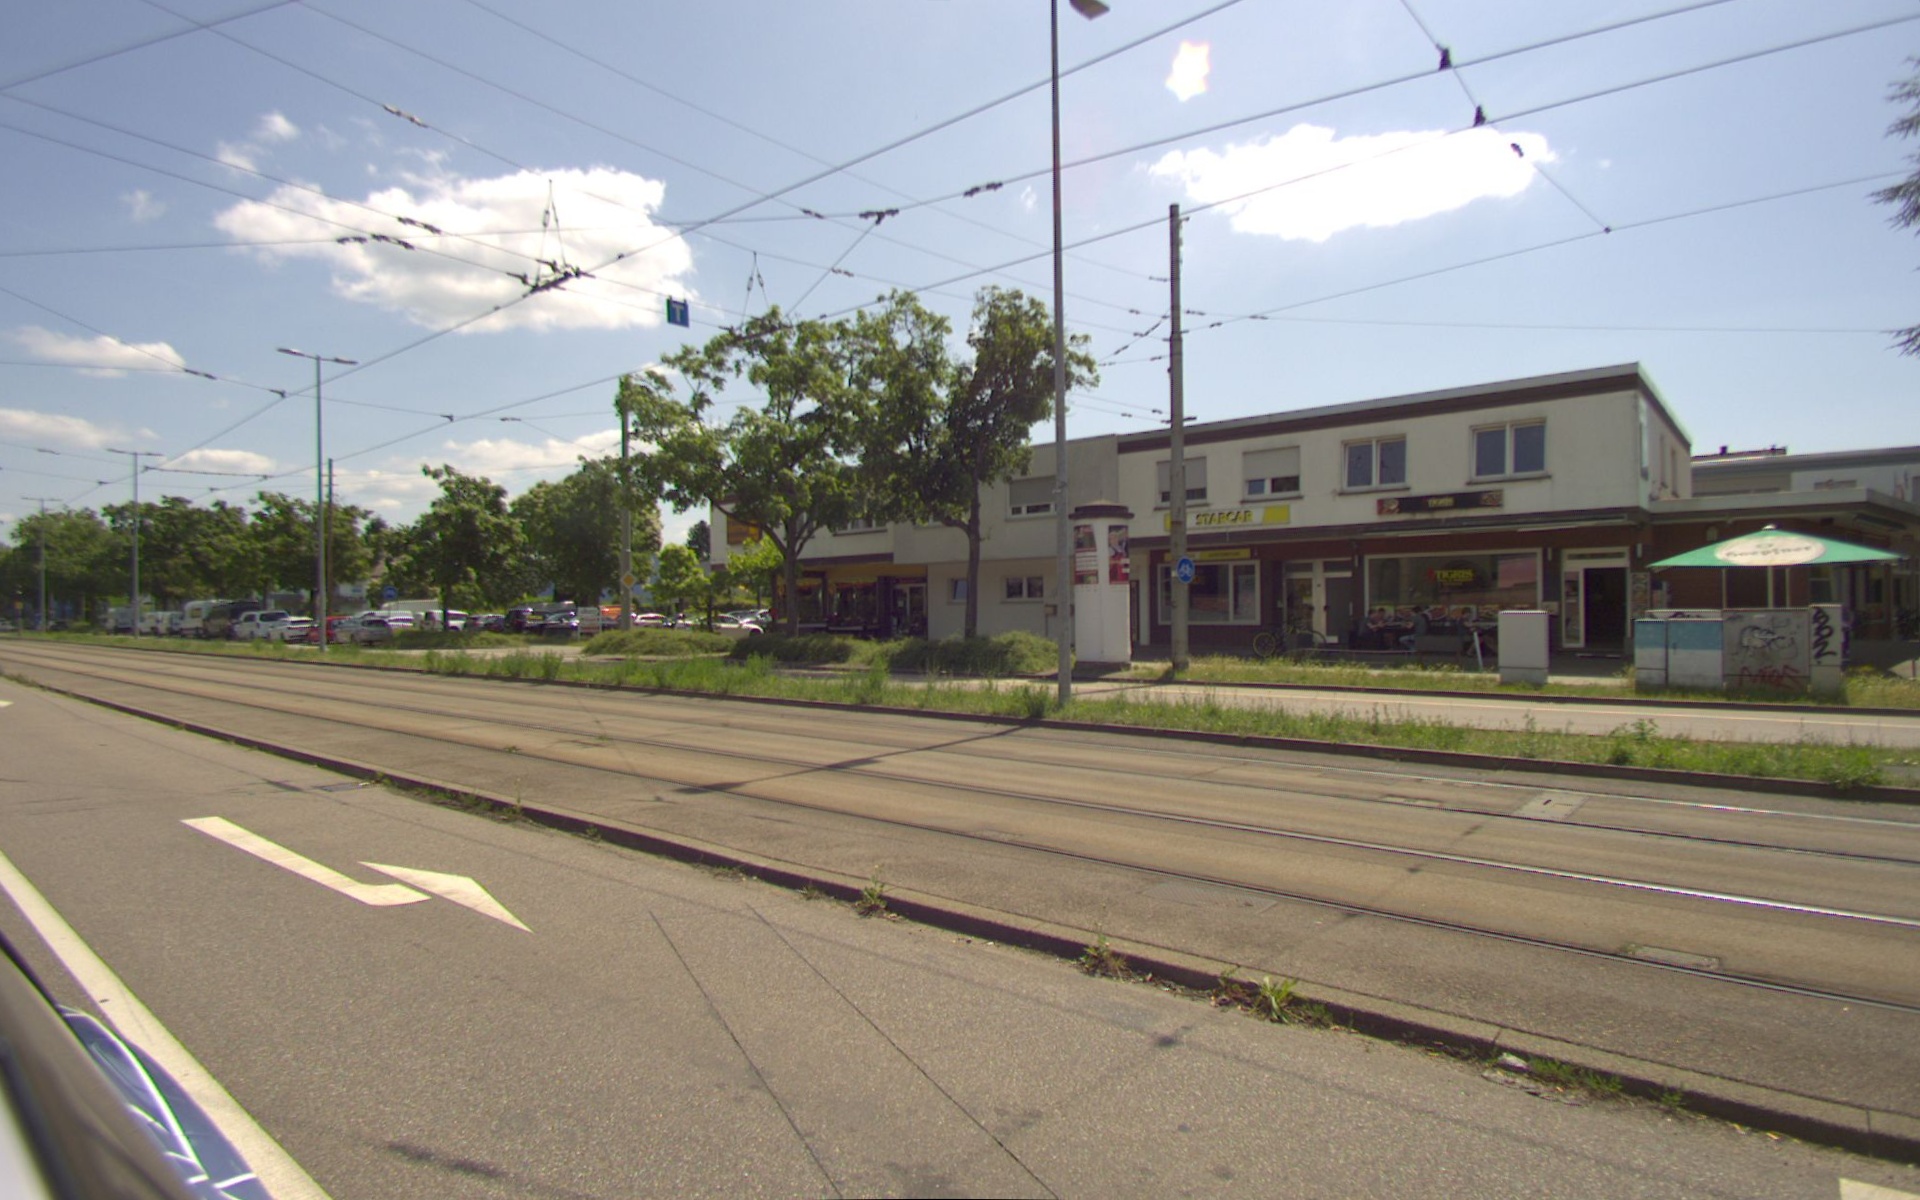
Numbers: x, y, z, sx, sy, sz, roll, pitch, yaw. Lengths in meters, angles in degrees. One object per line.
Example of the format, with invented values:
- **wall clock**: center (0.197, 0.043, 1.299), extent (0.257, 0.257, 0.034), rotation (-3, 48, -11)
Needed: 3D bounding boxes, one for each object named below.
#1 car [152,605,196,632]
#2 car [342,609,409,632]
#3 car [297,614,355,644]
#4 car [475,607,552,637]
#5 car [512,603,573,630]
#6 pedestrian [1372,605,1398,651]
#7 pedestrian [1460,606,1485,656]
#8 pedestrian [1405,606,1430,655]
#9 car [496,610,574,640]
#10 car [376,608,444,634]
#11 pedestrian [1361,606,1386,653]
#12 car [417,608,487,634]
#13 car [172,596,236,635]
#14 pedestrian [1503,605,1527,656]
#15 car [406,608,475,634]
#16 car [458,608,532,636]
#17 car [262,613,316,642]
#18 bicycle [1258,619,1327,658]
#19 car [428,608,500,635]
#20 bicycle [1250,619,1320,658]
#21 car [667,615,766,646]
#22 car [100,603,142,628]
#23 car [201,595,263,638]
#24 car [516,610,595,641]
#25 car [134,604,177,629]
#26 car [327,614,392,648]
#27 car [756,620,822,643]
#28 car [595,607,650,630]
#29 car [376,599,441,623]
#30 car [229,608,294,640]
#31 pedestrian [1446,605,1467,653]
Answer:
- **car**: center (-60.571, 1.418, 77.933), extent (4.646, 1.953, 1.772), rotation (0, 1, 41)
- **car**: center (-45.839, 1.638, 79.462), extent (1.802, 1.749, 4.145), rotation (0, -2, 41)
- **car**: center (-34.892, 1.562, 55.661), extent (3.644, 1.551, 1.485), rotation (0, 1, 38)
- **car**: center (-27.620, 1.395, 62.623), extent (1.802, 1.749, 3.945), rotation (0, -2, 41)
- **car**: center (-36.479, 1.463, 88.471), extent (1.849, 2.241, 4.595), rotation (0, -2, 38)
- **pedestrian**: center (11.833, 0.781, 28.179), extent (0.580, 1.278, 0.348), rotation (-1, -2, 41)
- **pedestrian**: center (13.189, 0.796, 26.061), extent (0.501, 1.278, 0.315), rotation (-1, -2, 41)
- **pedestrian**: center (12.196, 0.810, 26.974), extent (0.528, 1.278, 0.340), rotation (-1, -2, 43)
- **car**: center (-25.658, 1.513, 61.138), extent (1.878, 1.749, 3.945), rotation (-1, -1, 41)
- **car**: center (-39.888, 1.539, 73.501), extent (1.802, 1.749, 3.945), rotation (0, -2, 41)
- **pedestrian**: center (11.319, 0.805, 27.698), extent (0.532, 1.278, 0.349), rotation (-1, -2, 41)
- **car**: center (-35.206, 1.467, 70.251), extent (1.902, 1.749, 3.945), rotation (-1, -1, 41)
- **car**: center (-54.037, 1.075, 72.296), extent (6.699, 2.631, 2.129), rotation (0, 1, 40)
- **pedestrian**: center (14.255, 0.784, 26.000), extent (0.452, 1.278, 0.337), rotation (-1, -2, 43)
- **car**: center (-37.102, 1.522, 72.367), extent (1.802, 1.749, 3.945), rotation (0, -2, 41)
- **car**: center (-29.485, 1.374, 64.238), extent (1.802, 1.749, 3.945), rotation (-1, -1, 41)
- **car**: center (-38.602, 1.540, 58.195), extent (4.358, 1.551, 1.483), rotation (0, 1, 42)
- **bicycle**: center (9.220, 1.052, 28.091), extent (1.801, 1.049, 0.394), rotation (-1, -2, 42)
- **car**: center (-33.489, 1.454, 68.430), extent (1.802, 1.749, 3.945), rotation (0, -2, 41)
- **bicycle**: center (8.904, 1.052, 27.774), extent (1.801, 1.049, 0.394), rotation (-1, -2, 42)
- **car**: center (-11.843, 1.454, 49.406), extent (1.906, 1.445, 4.425), rotation (-1, -1, 43)
- **car**: center (-74.862, 1.385, 90.274), extent (4.484, 2.117, 2.046), rotation (0, 1, 39)
- **car**: center (-47.979, 1.040, 66.641), extent (5.031, 2.631, 2.128), rotation (0, 1, 41)
- **car**: center (-23.699, 1.443, 59.365), extent (1.802, 1.749, 3.945), rotation (-1, -1, 41)
- **car**: center (-65.580, 1.327, 82.495), extent (4.484, 1.953, 1.773), rotation (0, 1, 39)
- **car**: center (-30.894, 1.560, 52.017), extent (4.549, 1.551, 1.560), rotation (0, 1, 42)
- **car**: center (-11.139, 2.029, 66.209), extent (1.906, 1.412, 3.943), rotation (-1, -1, 43)
- **car**: center (-26.536, 1.479, 79.693), extent (1.759, 1.749, 3.699), rotation (0, -2, 38)
- **car**: center (-58.674, 1.214, 107.801), extent (2.257, 2.500, 5.629), rotation (-1, -1, 37)
- **car**: center (-43.520, 1.447, 63.004), extent (4.886, 1.851, 2.128), rotation (0, 1, 41)
- **pedestrian**: center (13.287, 0.776, 27.079), extent (0.400, 1.255, 0.382), rotation (-1, -2, 41)
